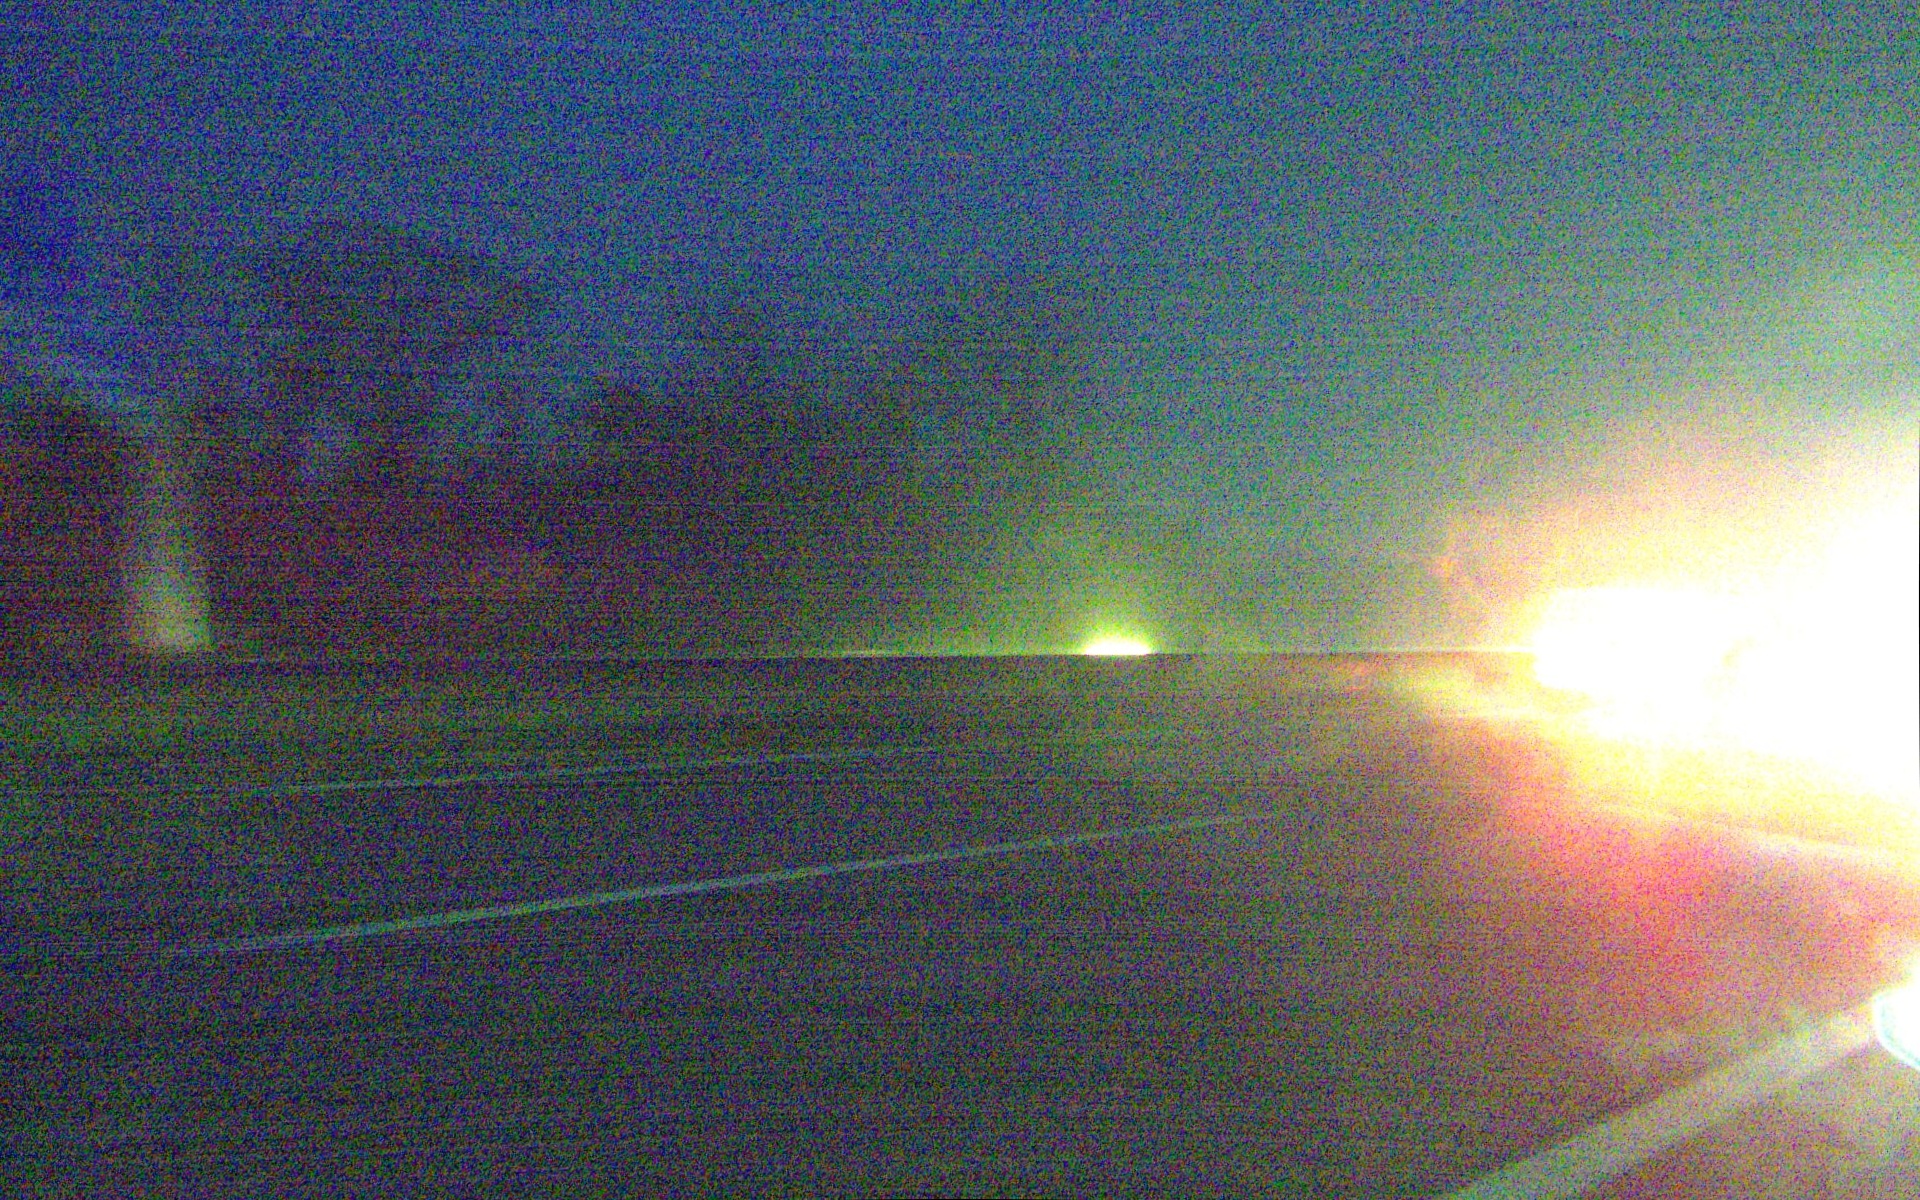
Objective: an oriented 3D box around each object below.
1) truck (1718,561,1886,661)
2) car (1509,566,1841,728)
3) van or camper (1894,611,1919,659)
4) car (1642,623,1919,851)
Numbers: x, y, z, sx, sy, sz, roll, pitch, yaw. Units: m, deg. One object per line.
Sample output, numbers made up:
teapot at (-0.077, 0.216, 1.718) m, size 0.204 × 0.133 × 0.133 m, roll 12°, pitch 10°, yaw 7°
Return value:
truck at (59.989, 0.941, 71.249) m, size 17.095 × 6.497 × 3.208 m, roll 2°, pitch 0°, yaw -29°
car at (11.176, 0.685, 15.587) m, size 5.564 × 2.132 × 2.113 m, roll 2°, pitch 0°, yaw -31°
van or camper at (79.517, 2.930, 82.080) m, size 7.590 × 3.750 × 2.502 m, roll 2°, pitch 0°, yaw -30°
car at (7.616, 0.943, 8.446) m, size 4.201 × 1.450 × 1.646 m, roll 1°, pitch 0°, yaw -34°
